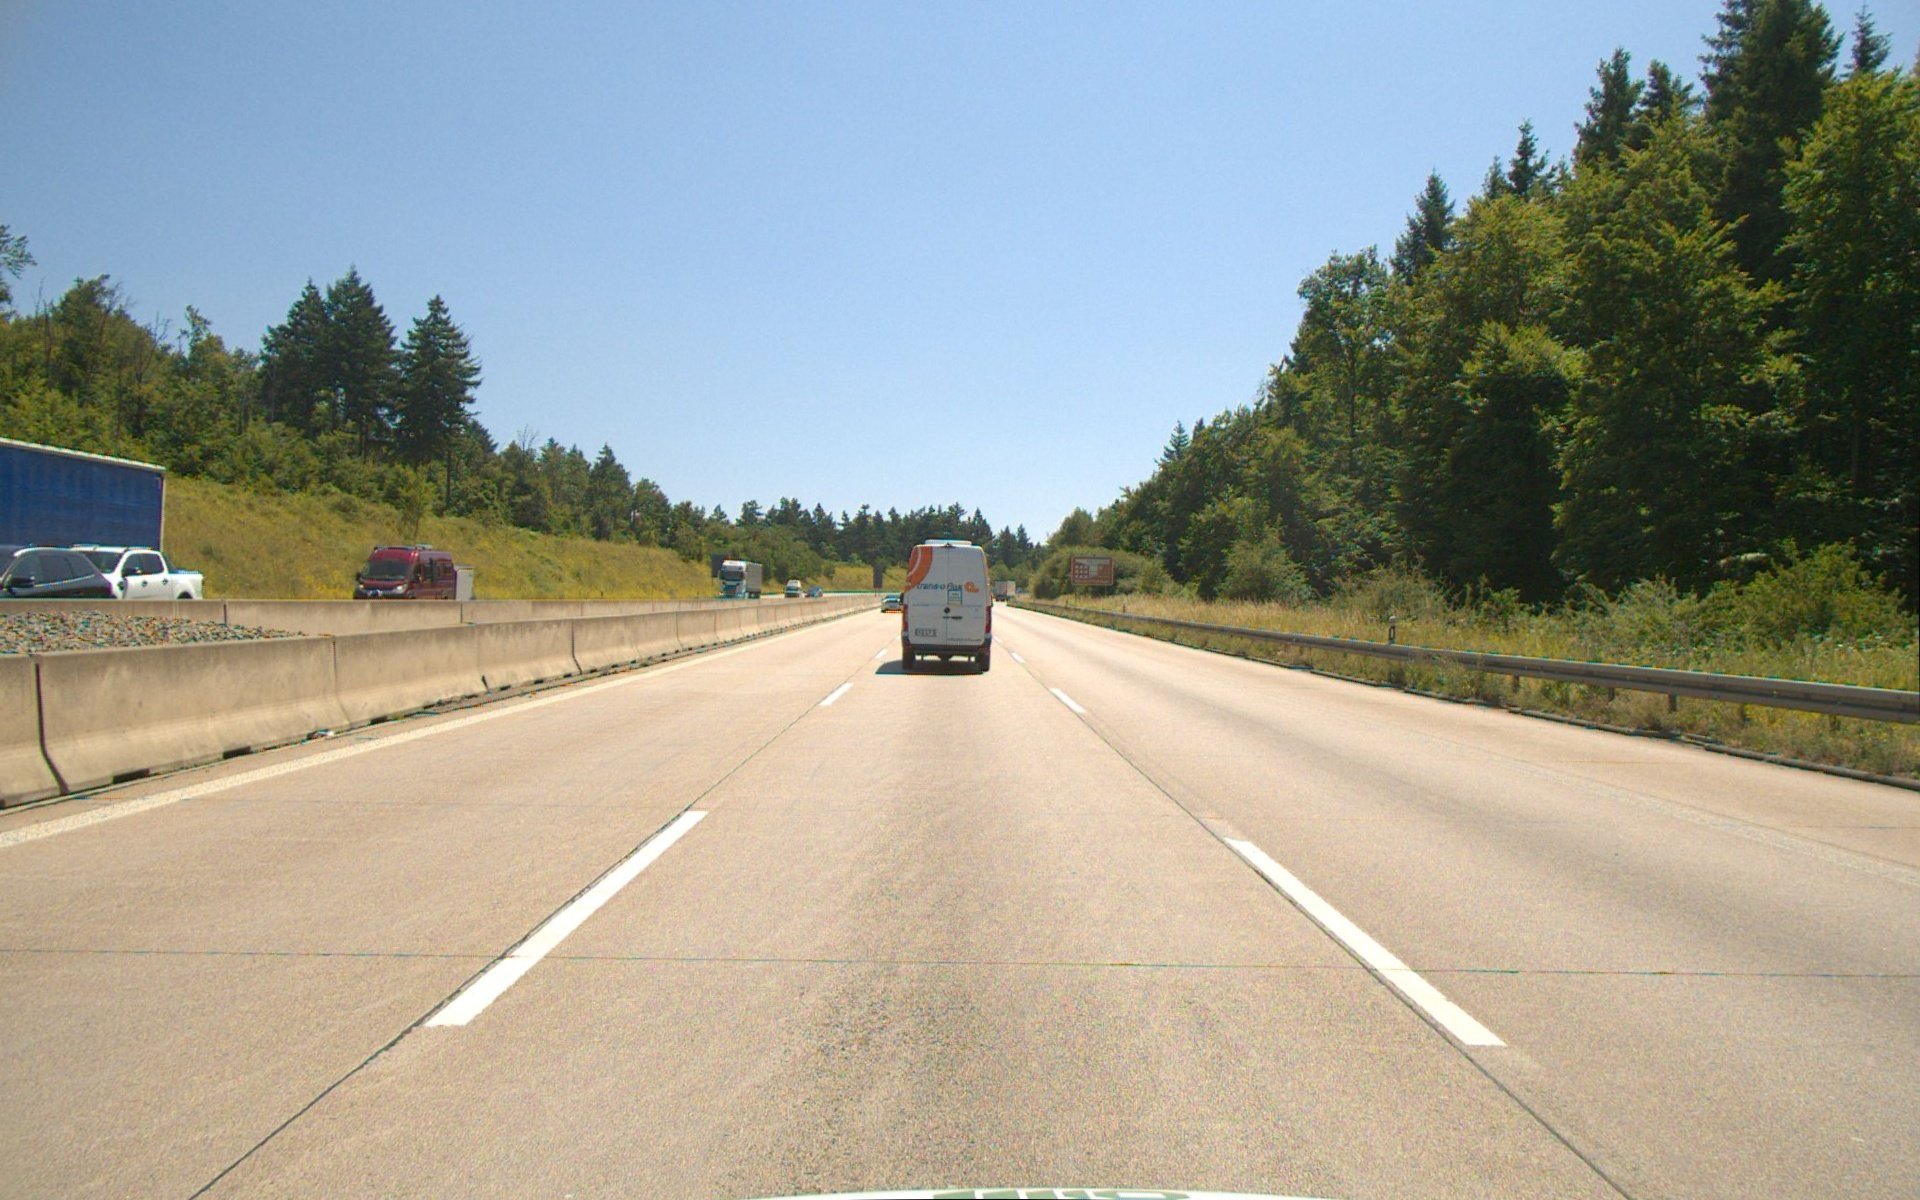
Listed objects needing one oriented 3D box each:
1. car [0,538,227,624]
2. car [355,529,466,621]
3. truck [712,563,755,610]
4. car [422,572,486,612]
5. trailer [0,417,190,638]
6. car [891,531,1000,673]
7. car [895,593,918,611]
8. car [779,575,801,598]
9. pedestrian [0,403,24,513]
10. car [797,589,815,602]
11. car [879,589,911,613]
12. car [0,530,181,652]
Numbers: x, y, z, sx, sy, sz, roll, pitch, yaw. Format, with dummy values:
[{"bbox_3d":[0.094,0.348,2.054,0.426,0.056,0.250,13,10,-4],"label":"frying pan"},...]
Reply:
[{"bbox_3d":[-17.460,-0.348,34.369,1.953,1.611,5.518,1,0,0],"label":"car"},{"bbox_3d":[-21.056,-0.912,63.745,1.953,3.298,7.059,1,0,-1],"label":"car"},{"bbox_3d":[-23.213,-1.355,169.849,3.190,4.583,7.984,1,0,0],"label":"truck"},{"bbox_3d":[-21.212,-0.321,69.429,1.581,1.628,3.576,-1,0,-1],"label":"car"},{"bbox_3d":[-21.574,-1.529,35.924,3.190,4.583,13.737,1,0,0],"label":"trailer"},{"bbox_3d":[-0.348,0.025,37.192,2.181,2.894,5.453,2,0,-1],"label":"car"},{"bbox_3d":[-5.498,0.226,170.856,1.952,1.713,4.002,1,0,3],"label":"car"},{"bbox_3d":[-19.592,-1.577,190.425,1.953,2.529,5.178,2,0,0],"label":"car"},{"bbox_3d":[-19.277,-2.766,30.298,1.953,2.049,3.999,1,0,-1],"label":"pedestrian"},{"bbox_3d":[-19.960,-0.584,214.579,1.953,1.610,4.042,1,0,0],"label":"car"},{"bbox_3d":[-4.832,0.086,123.761,1.952,1.713,4.002,1,0,3],"label":"car"},{"bbox_3d":[-13.396,-0.123,24.121,1.953,1.611,4.402,1,0,0],"label":"car"}]
